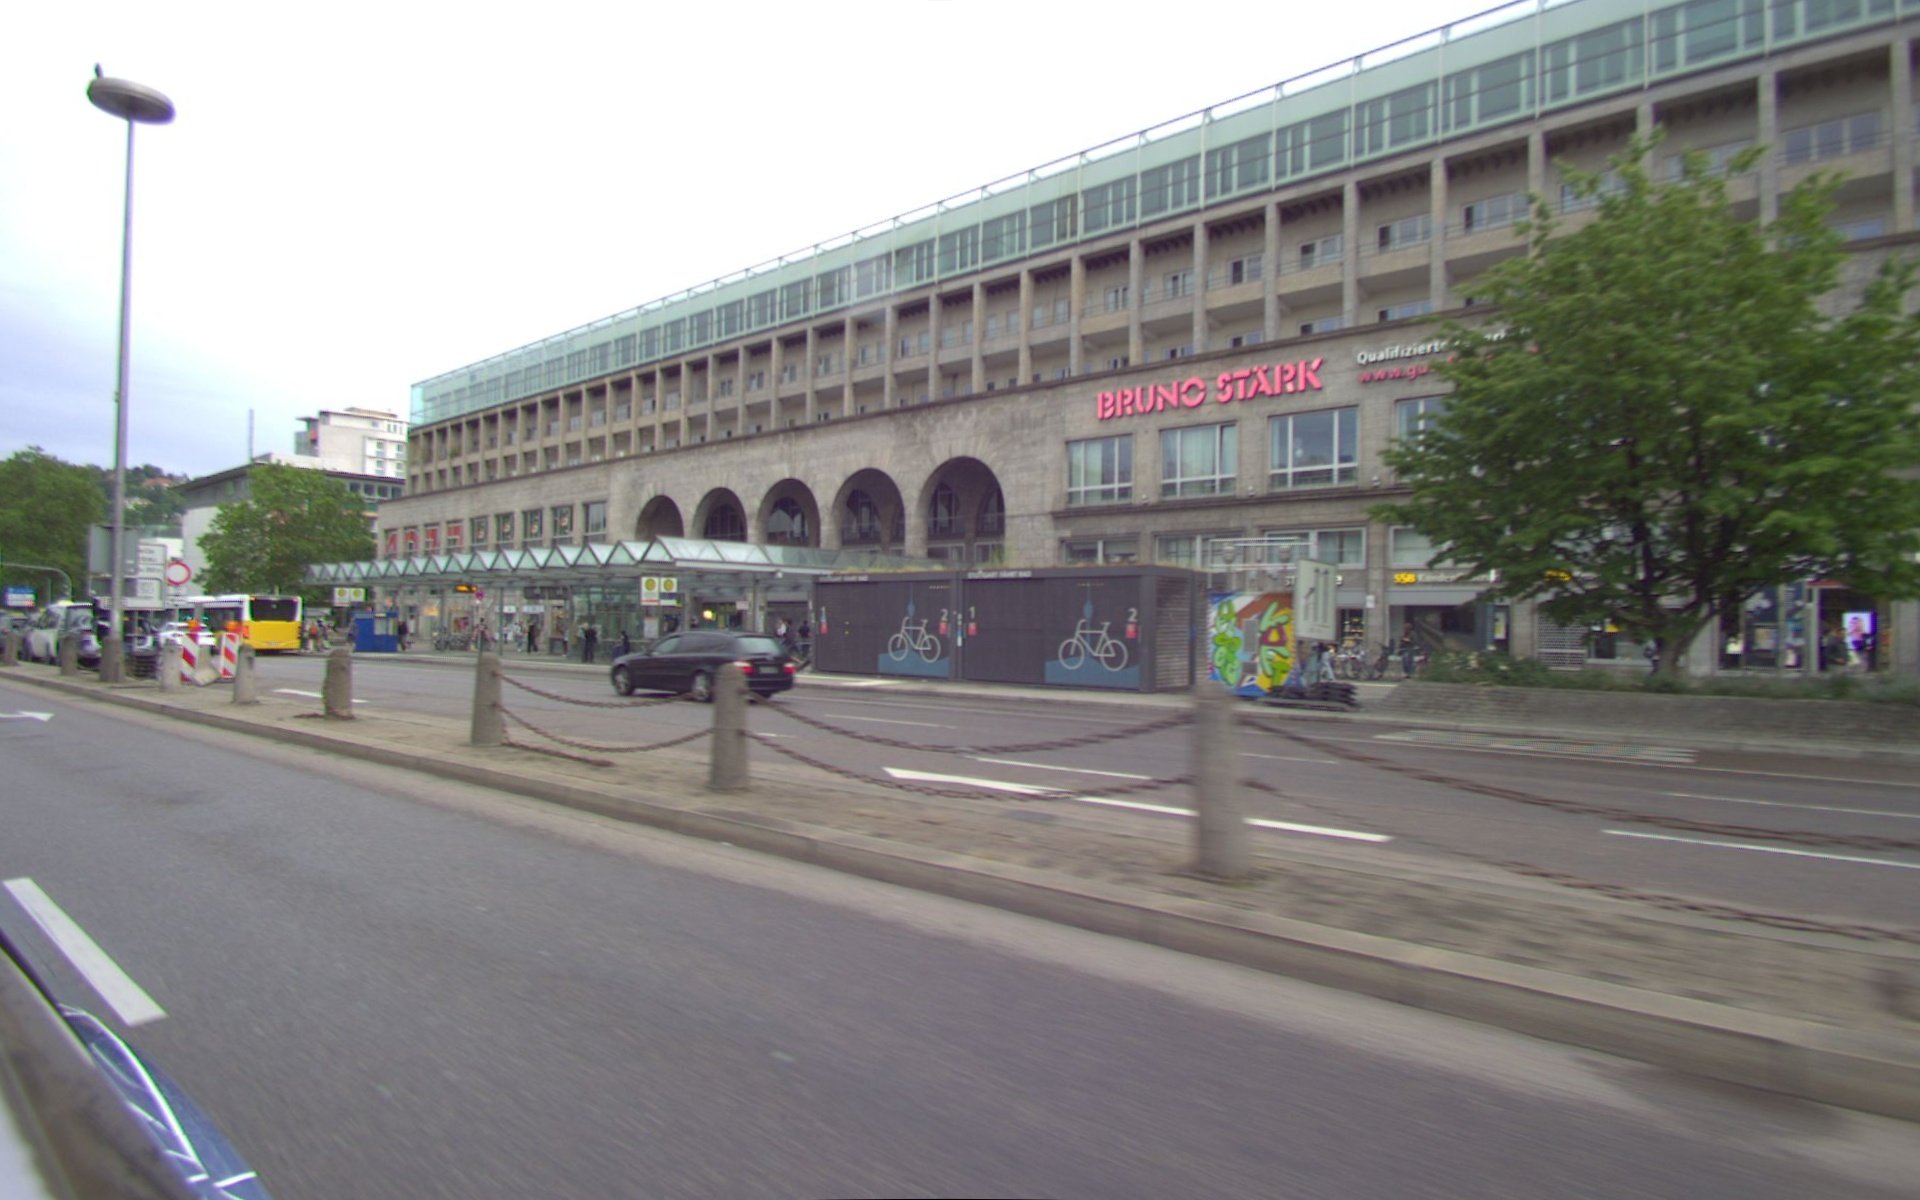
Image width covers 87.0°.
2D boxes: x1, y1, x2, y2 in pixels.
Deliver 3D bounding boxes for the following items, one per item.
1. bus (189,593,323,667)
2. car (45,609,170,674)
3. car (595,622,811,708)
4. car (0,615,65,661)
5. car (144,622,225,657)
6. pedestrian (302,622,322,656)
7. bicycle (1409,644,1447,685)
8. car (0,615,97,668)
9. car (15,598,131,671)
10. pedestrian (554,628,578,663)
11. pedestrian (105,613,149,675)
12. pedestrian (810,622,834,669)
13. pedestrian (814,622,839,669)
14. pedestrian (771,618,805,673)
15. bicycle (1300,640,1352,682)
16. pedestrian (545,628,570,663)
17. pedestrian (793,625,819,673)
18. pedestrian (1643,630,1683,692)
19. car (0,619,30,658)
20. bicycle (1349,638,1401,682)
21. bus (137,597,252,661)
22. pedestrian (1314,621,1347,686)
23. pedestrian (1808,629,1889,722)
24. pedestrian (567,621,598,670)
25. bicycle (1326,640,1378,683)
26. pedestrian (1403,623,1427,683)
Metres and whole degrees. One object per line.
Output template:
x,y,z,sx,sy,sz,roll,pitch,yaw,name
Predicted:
-36.445,1.506,52.192,10.562,3.486,2.849,-1,-2,39,bus
-24.694,1.168,29.258,4.778,1.735,1.973,-1,-2,40,car
-5.610,1.311,21.728,4.974,1.629,1.973,-1,-2,40,car
-37.073,1.476,39.793,4.879,1.712,1.911,-1,-3,38,car
-37.170,1.916,48.448,4.829,1.576,1.943,-2,-5,39,car
-33.212,1.989,51.847,0.855,1.738,0.617,-2,-1,39,pedestrian
14.081,1.916,30.426,0.503,1.169,1.885,-1,-3,42,bicycle
-33.001,1.482,36.567,4.578,1.820,1.910,-1,-3,39,car
-29.109,1.112,33.154,5.539,2.195,1.973,-1,-2,40,car
-18.903,2.180,48.539,0.893,1.668,0.748,-2,-1,41,pedestrian
-22.602,1.183,27.457,0.763,1.665,0.753,-1,-2,39,pedestrian
-6.354,2.078,46.612,0.759,2.142,0.807,2,-3,-43,pedestrian
-5.951,2.022,45.191,0.770,2.057,0.795,-1,-3,41,pedestrian
-6.001,1.574,35.274,0.929,1.870,0.712,-2,-1,39,pedestrian
11.835,1.935,32.704,0.663,1.303,2.339,-1,-3,44,bicycle
-19.557,2.201,49.161,0.893,1.668,0.748,-2,-1,41,pedestrian
-6.979,2.231,45.879,0.759,2.142,0.980,2,-3,-43,pedestrian
18.628,1.604,26.818,0.662,1.608,0.724,0,-2,19,pedestrian
-42.021,1.626,43.655,5.044,1.589,1.911,-1,-3,38,car
12.899,1.846,31.422,0.663,1.303,2.339,-1,-3,44,bicycle
-44.666,1.686,58.890,10.562,3.402,2.849,-1,-3,39,bus
10.901,1.556,29.797,0.728,1.867,0.659,-1,-2,39,pedestrian
19.965,1.671,22.756,0.758,2.029,1.086,1,-2,-12,pedestrian
-15.931,1.902,42.718,0.960,2.029,0.834,-1,-3,39,pedestrian
12.389,1.919,31.964,0.663,1.303,2.339,-1,-3,44,bicycle
14.347,1.662,31.904,0.603,1.869,0.674,-1,-2,32,pedestrian
